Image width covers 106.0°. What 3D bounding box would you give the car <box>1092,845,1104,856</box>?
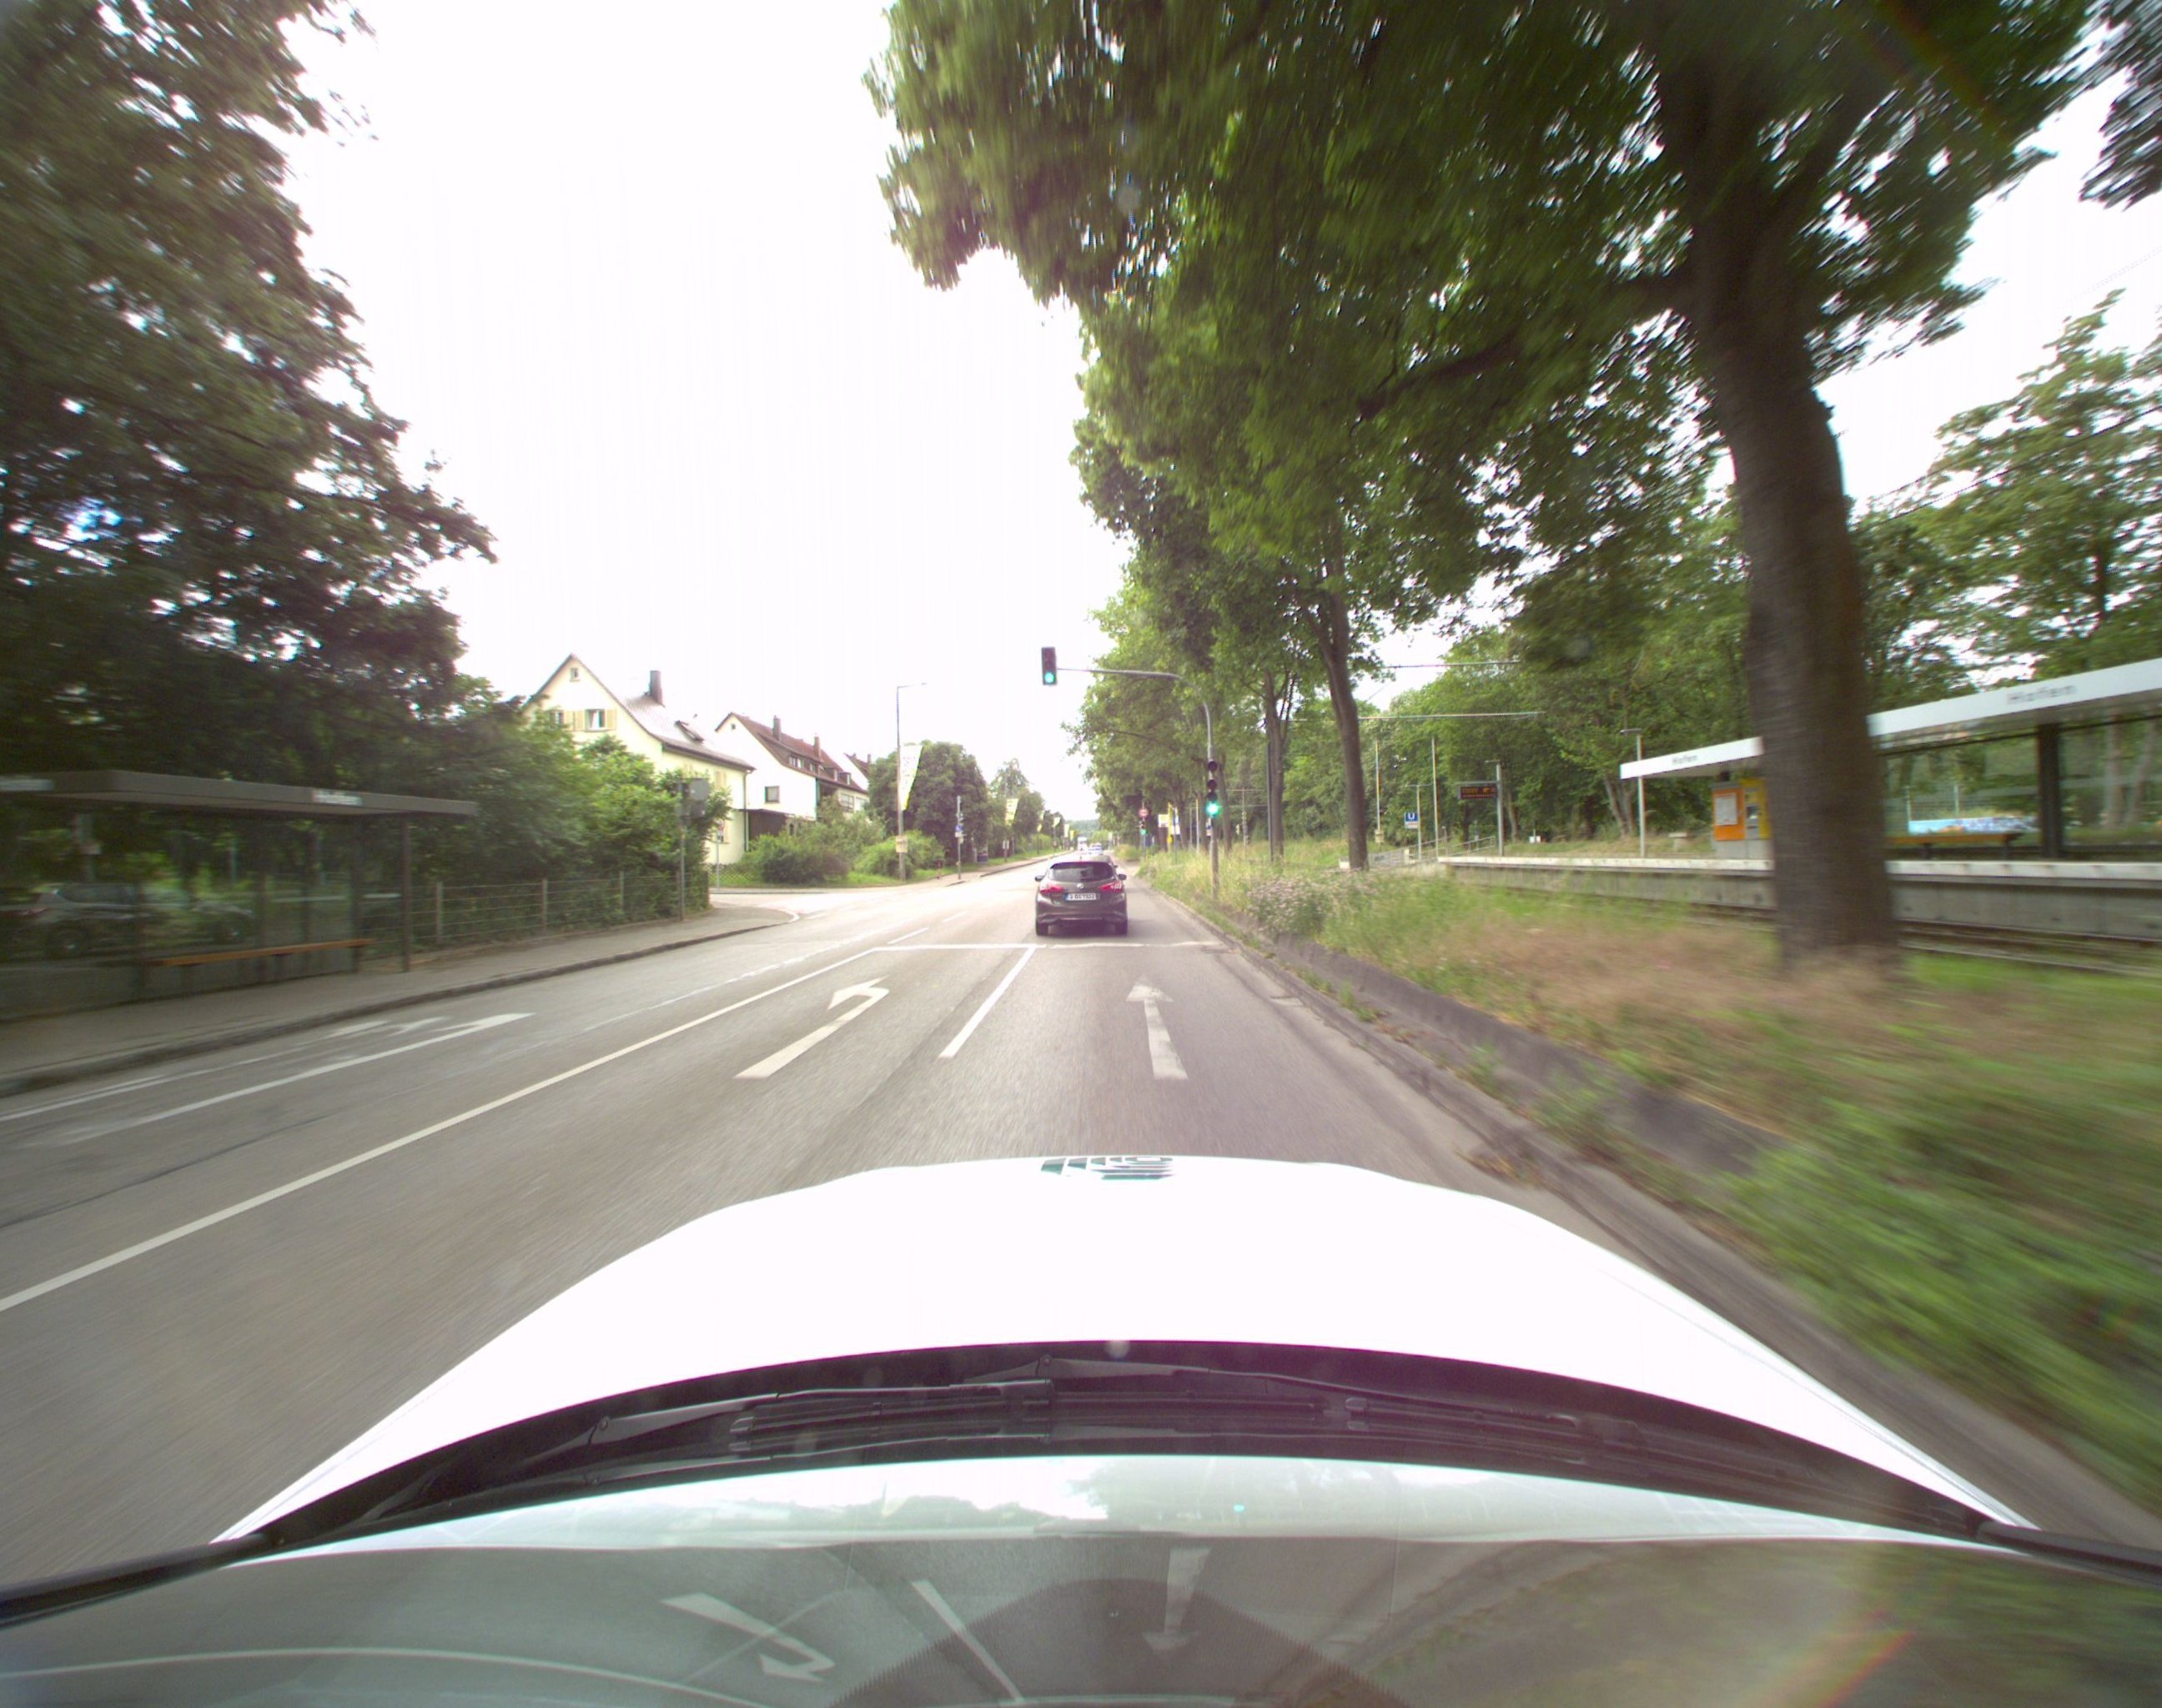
[{"bbox_3d":[2.410,-0.472,114.176,1.685,1.441,3.542,-1,0,1],"label":"car"}]

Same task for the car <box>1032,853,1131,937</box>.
[{"bbox_3d":[0.071,0.759,16.822,1.777,1.507,3.697,-1,0,2],"label":"car"}]

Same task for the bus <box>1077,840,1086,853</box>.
[{"bbox_3d":[0.298,-2.254,250.322,2.478,4.025,10.220,-1,0,2],"label":"bus"}]

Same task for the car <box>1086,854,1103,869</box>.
[{"bbox_3d":[1.381,0.771,82.467,1.685,1.441,3.542,-1,0,1],"label":"car"}]

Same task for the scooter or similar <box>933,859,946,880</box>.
[{"bbox_3d":[-8.855,0.965,50.896,0.460,1.259,1.427,-1,0,3],"label":"scooter or similar"}]

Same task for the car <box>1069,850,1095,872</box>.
[{"bbox_3d":[0.123,0.453,55.833,1.685,1.441,3.542,-1,0,1],"label":"car"}]

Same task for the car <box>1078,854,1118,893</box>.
[{"bbox_3d":[0.681,0.757,32.787,1.496,1.441,3.542,-1,0,1],"label":"car"}]
